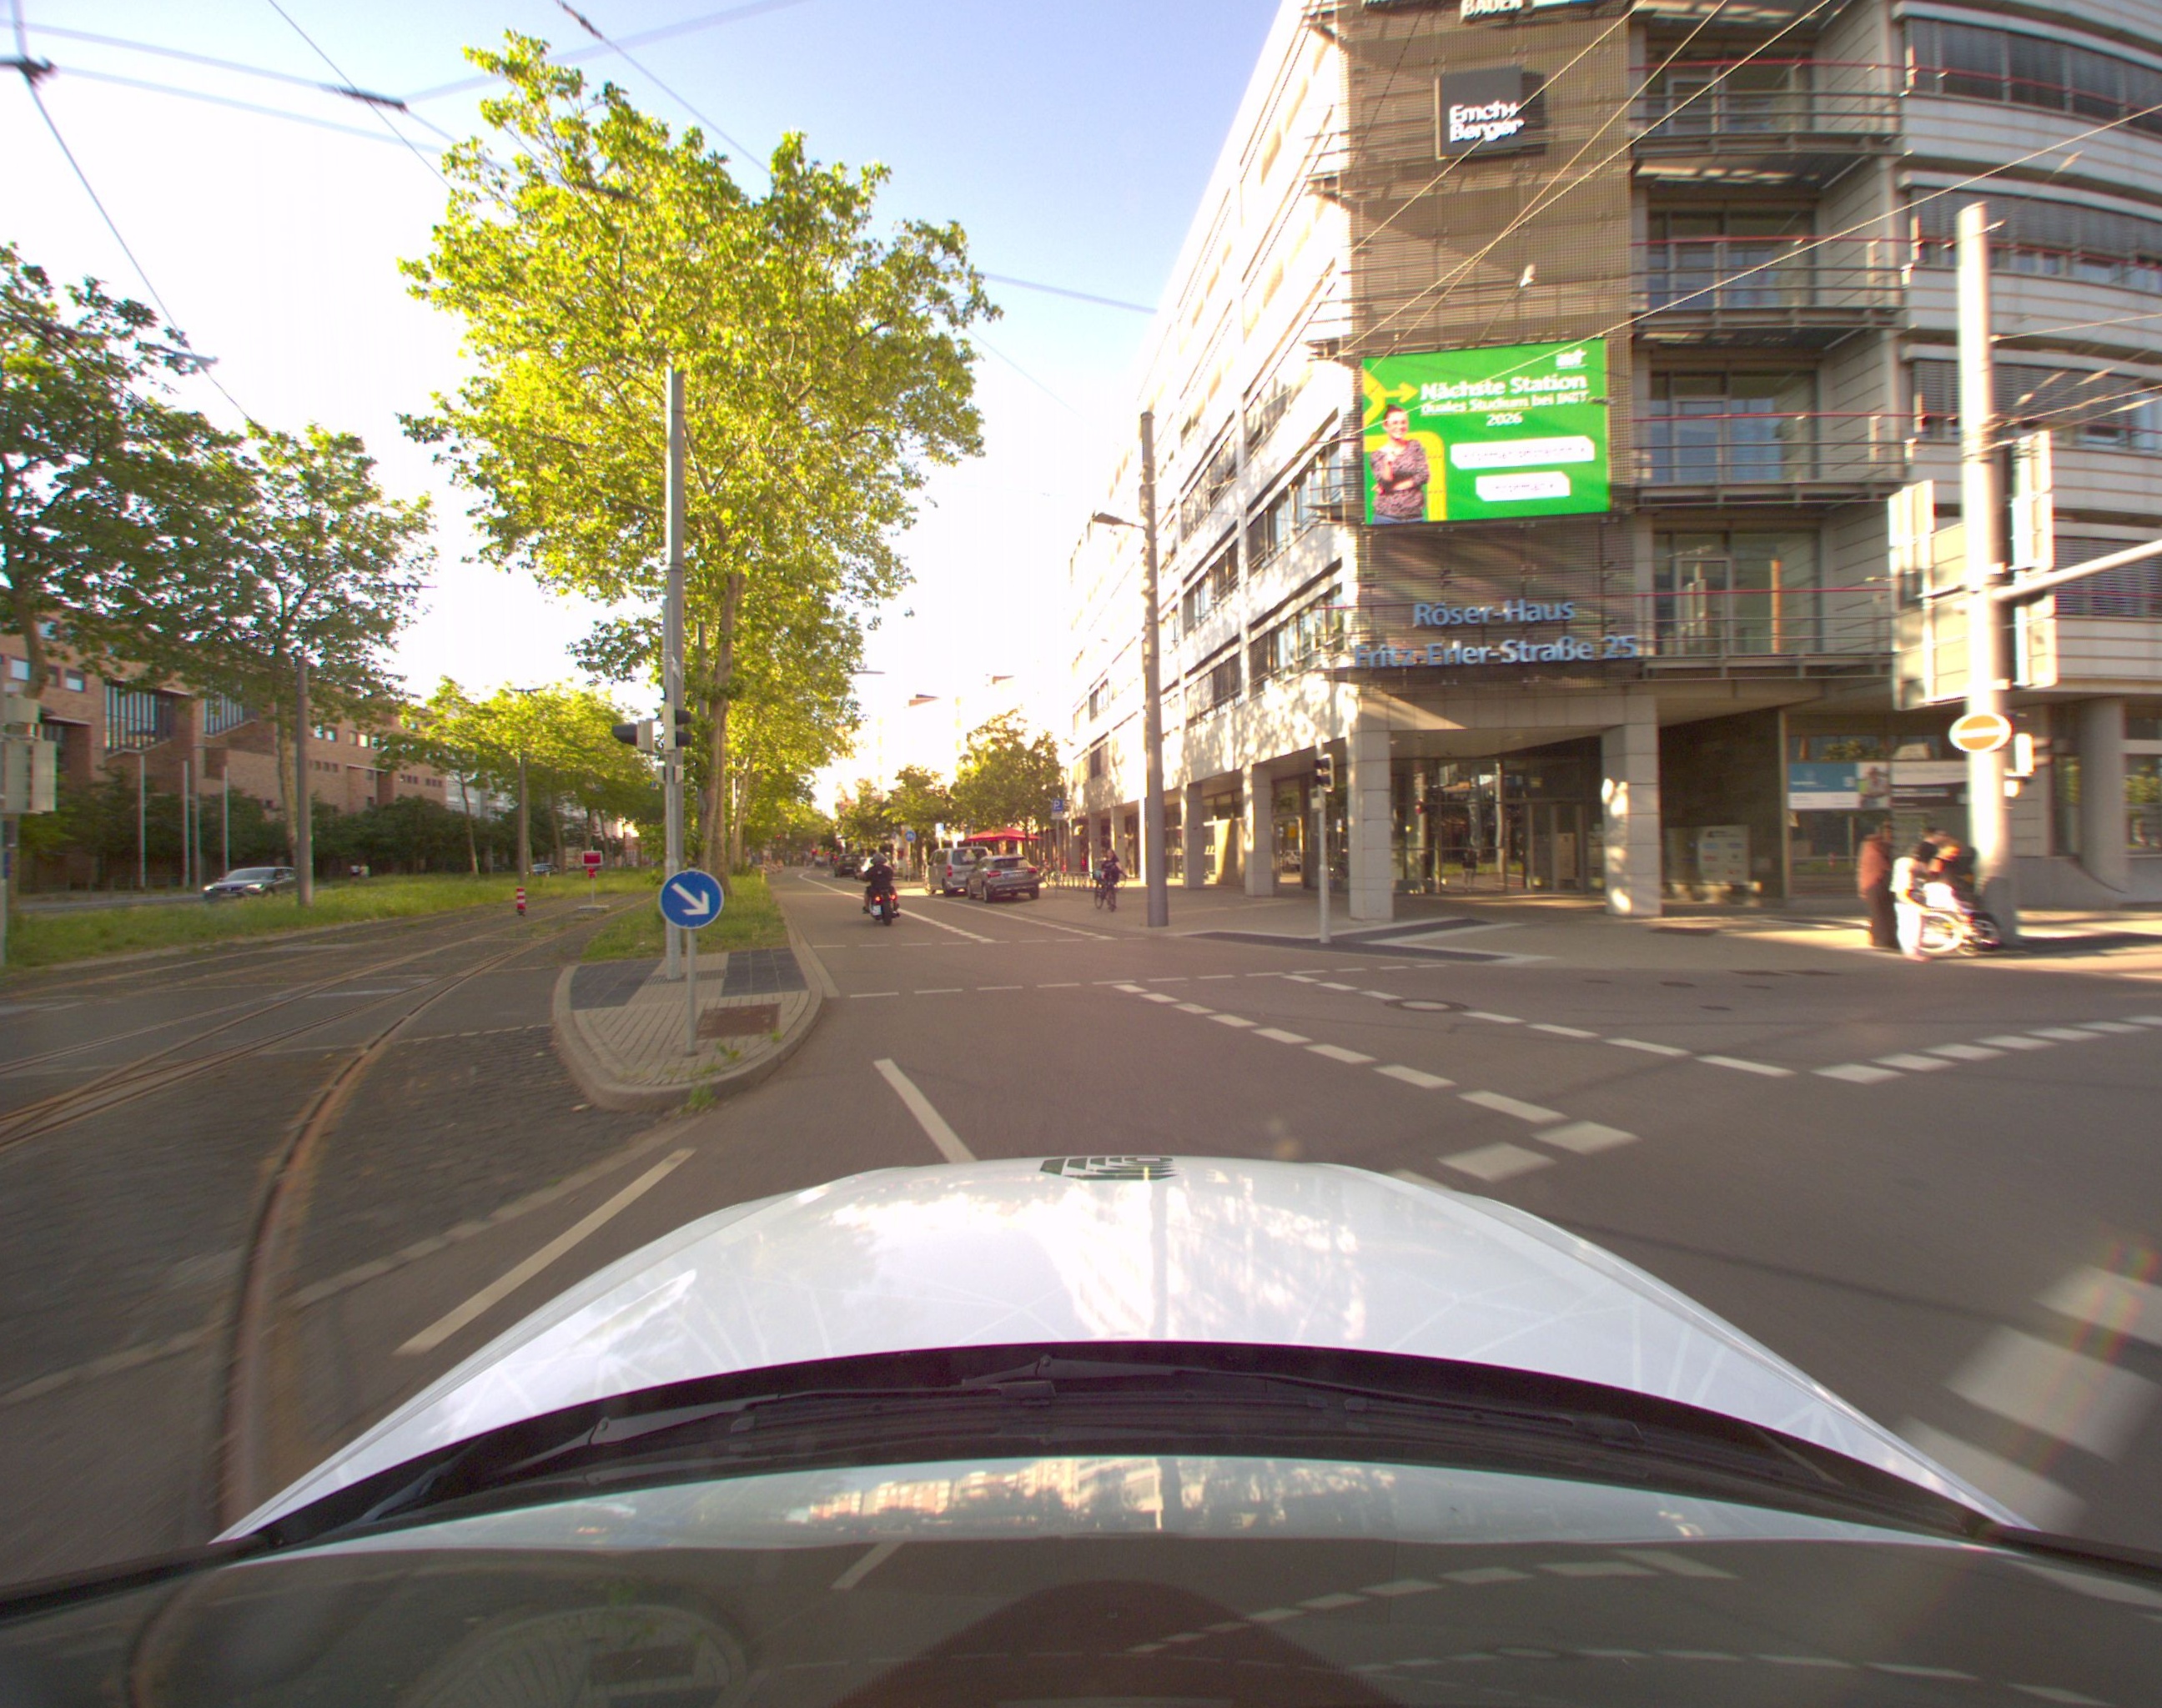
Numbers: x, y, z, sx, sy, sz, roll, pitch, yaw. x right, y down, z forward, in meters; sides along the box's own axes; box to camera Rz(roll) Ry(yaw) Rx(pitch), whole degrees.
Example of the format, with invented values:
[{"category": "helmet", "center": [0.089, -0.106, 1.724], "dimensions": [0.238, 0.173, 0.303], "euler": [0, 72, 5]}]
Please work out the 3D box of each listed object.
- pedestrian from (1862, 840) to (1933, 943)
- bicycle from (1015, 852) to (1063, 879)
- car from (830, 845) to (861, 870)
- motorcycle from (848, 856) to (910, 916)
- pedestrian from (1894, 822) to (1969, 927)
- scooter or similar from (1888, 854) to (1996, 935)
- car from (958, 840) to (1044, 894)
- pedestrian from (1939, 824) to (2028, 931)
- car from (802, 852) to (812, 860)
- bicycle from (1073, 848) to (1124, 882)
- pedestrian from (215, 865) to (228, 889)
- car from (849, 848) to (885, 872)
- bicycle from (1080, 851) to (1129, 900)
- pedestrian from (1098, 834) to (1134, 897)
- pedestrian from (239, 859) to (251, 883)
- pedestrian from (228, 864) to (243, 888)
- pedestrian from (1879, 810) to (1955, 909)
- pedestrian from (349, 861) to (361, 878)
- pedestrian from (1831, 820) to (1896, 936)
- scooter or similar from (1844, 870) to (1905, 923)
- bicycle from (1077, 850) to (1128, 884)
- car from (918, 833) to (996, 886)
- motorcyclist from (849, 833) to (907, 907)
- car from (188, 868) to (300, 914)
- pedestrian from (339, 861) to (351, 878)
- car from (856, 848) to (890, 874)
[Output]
[{"category": "pedestrian", "center": [11.582, 0.514, 11.568], "dimensions": [0.630, 1.401, 0.550], "euler": [-1, 1, 37]}, {"category": "bicycle", "center": [-1.801, 0.481, 34.710], "dimensions": [1.876, 1.101, 0.734], "euler": [-2, 1, -26]}, {"category": "car", "center": [-20.501, 0.248, 70.837], "dimensions": [2.039, 1.976, 4.381], "euler": [-3, 2, -23]}, {"category": "motorcycle", "center": [-4.538, 0.671, 18.152], "dimensions": [1.009, 1.125, 2.307], "euler": [-2, 2, -22]}, {"category": "pedestrian", "center": [13.471, 0.300, 12.926], "dimensions": [0.695, 1.600, 0.664], "euler": [0, 2, 35]}, {"category": "scooter or similar", "center": [12.644, 0.576, 11.993], "dimensions": [1.005, 1.129, 0.554], "euler": [-1, 1, 37]}, {"category": "car", "center": [-2.811, 0.396, 27.850], "dimensions": [1.865, 1.572, 4.386], "euler": [-5, 2, -19]}, {"category": "pedestrian", "center": [14.236, 0.349, 12.859], "dimensions": [0.654, 1.617, 0.720], "euler": [-2, 1, -15]}, {"category": "car", "center": [-65.097, 0.451, 193.259], "dimensions": [1.998, 1.705, 3.979], "euler": [-2, 1, -16]}, {"category": "bicycle", "center": [0.667, 0.399, 30.983], "dimensions": [1.837, 1.151, 0.467], "euler": [-3, 2, -17]}, {"category": "pedestrian", "center": [-51.630, 1.397, 48.900], "dimensions": [0.365, 1.420, 0.330], "euler": [-2, 1, -14]}, {"category": "car", "center": [-15.896, 0.446, 60.407], "dimensions": [1.996, 1.628, 4.054], "euler": [-3, 1, -23]}, {"category": "bicycle", "center": [0.609, 0.538, 21.790], "dimensions": [0.613, 1.163, 1.836], "euler": [-5, 3, -20]}, {"category": "pedestrian", "center": [0.935, 0.284, 21.946], "dimensions": [0.607, 1.610, 0.832], "euler": [-5, 3, -20]}, {"category": "pedestrian", "center": [-51.852, 1.025, 50.517], "dimensions": [0.318, 1.457, 0.340], "euler": [-2, 1, -16]}, {"category": "pedestrian", "center": [-51.066, 1.333, 49.179], "dimensions": [0.391, 1.416, 0.456], "euler": [-2, 1, -15]}, {"category": "pedestrian", "center": [14.973, 0.082, 14.605], "dimensions": [0.641, 1.715, 0.691], "euler": [-2, 1, 3]}, {"category": "pedestrian", "center": [-56.895, 1.217, 63.849], "dimensions": [0.503, 1.291, 0.518], "euler": [-2, 1, -17]}, {"category": "pedestrian", "center": [11.977, 0.353, 12.486], "dimensions": [0.630, 1.708, 0.585], "euler": [-1, 1, 37]}, {"category": "scooter or similar", "center": [12.944, 0.685, 13.303], "dimensions": [0.609, 0.790, 0.664], "euler": [0, 2, 35]}, {"category": "bicycle", "center": [0.807, 0.470, 30.530], "dimensions": [1.837, 1.151, 0.467], "euler": [-3, 2, -17]}, {"category": "car", "center": [-5.115, 0.185, 32.976], "dimensions": [1.930, 1.843, 4.888], "euler": [-5, 2, -22]}, {"category": "motorcyclist", "center": [-4.512, 0.319, 18.079], "dimensions": [1.027, 1.552, 1.277], "euler": [-2, 2, -23]}, {"category": "car", "center": [-34.945, 1.499, 34.166], "dimensions": [1.832, 1.561, 4.306], "euler": [-2, 2, -26]}, {"category": "pedestrian", "center": [-57.521, 1.217, 63.668], "dimensions": [0.503, 1.291, 0.518], "euler": [-2, 1, -17]}, {"category": "car", "center": [-14.036, 0.433, 54.920], "dimensions": [1.865, 1.638, 3.843], "euler": [-2, 1, -19]}]
